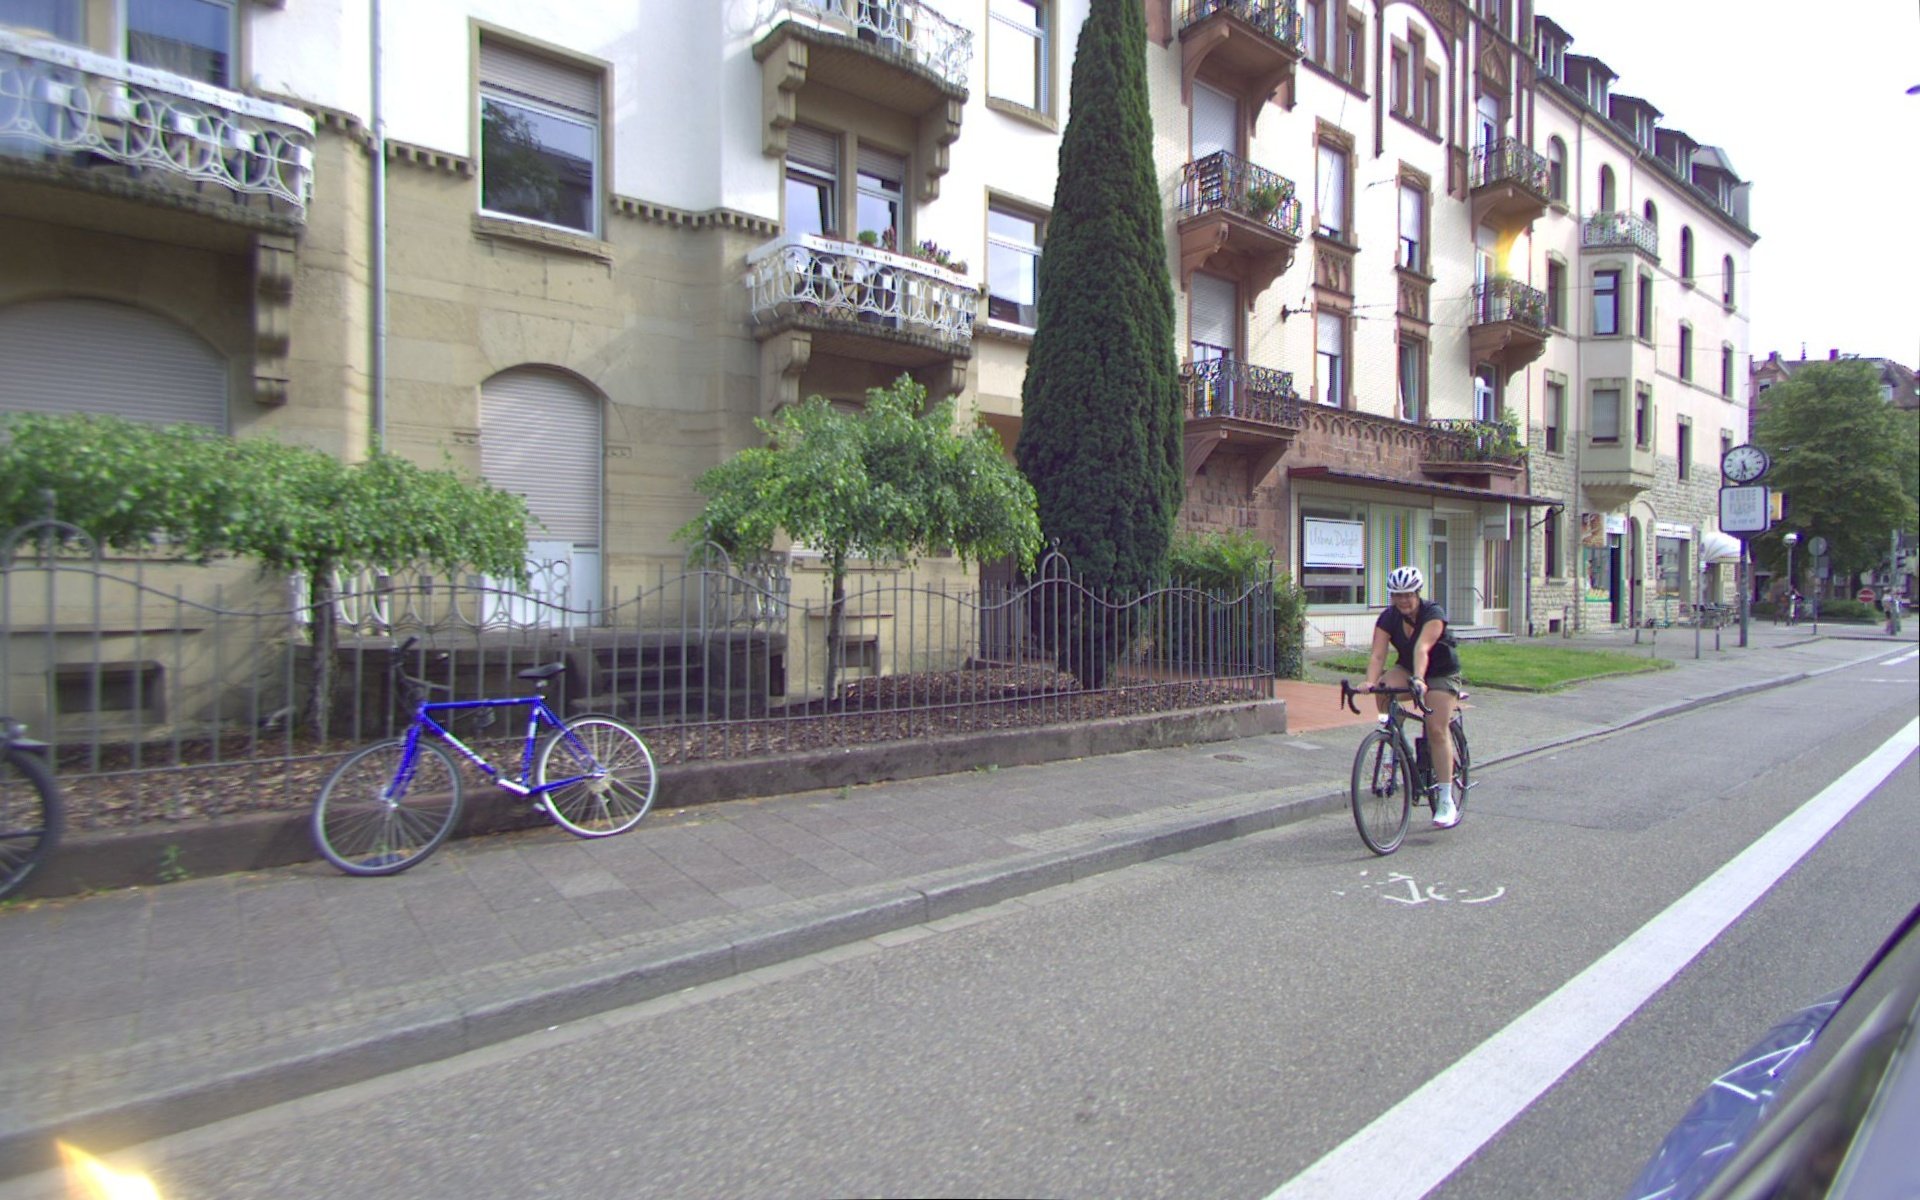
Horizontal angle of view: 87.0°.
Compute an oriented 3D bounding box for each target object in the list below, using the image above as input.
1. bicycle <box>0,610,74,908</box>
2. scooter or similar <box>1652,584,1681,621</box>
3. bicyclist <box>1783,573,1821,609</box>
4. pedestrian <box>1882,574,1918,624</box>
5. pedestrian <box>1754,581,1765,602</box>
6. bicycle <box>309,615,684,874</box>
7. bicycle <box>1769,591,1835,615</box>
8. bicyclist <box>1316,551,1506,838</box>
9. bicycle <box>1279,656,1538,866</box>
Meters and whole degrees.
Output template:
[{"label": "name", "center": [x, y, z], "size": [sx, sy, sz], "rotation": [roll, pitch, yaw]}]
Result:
[{"label": "bicycle", "center": [-4.483, 0.638, 3.667], "size": [1.886, 1.156, 0.392], "rotation": [-1, 2, -38]}, {"label": "scooter or similar", "center": [23.276, 0.089, 33.347], "size": [1.175, 1.182, 0.398], "rotation": [0, 3, -38]}, {"label": "bicyclist", "center": [39.839, -0.426, 47.902], "size": [0.825, 1.711, 1.244], "rotation": [1, 0, 8]}, {"label": "pedestrian", "center": [32.866, -0.038, 35.382], "size": [0.746, 1.680, 0.721], "rotation": [-1, 5, -42]}, {"label": "pedestrian", "center": [63.162, -0.677, 79.944], "size": [0.630, 1.715, 0.611], "rotation": [-1, 1, -43]}, {"label": "bicycle", "center": [-2.338, 0.664, 5.249], "size": [1.727, 1.116, 0.392], "rotation": [-1, 2, -38]}, {"label": "bicycle", "center": [39.831, 0.119, 47.933], "size": [0.871, 1.058, 3.091], "rotation": [0, 1, 7]}, {"label": "bicyclist", "center": [2.785, 0.519, 6.225], "size": [1.091, 1.590, 0.639], "rotation": [-1, -1, -41]}, {"label": "bicycle", "center": [2.829, 0.900, 6.264], "size": [2.035, 0.993, 0.639], "rotation": [-1, -1, -41]}]
